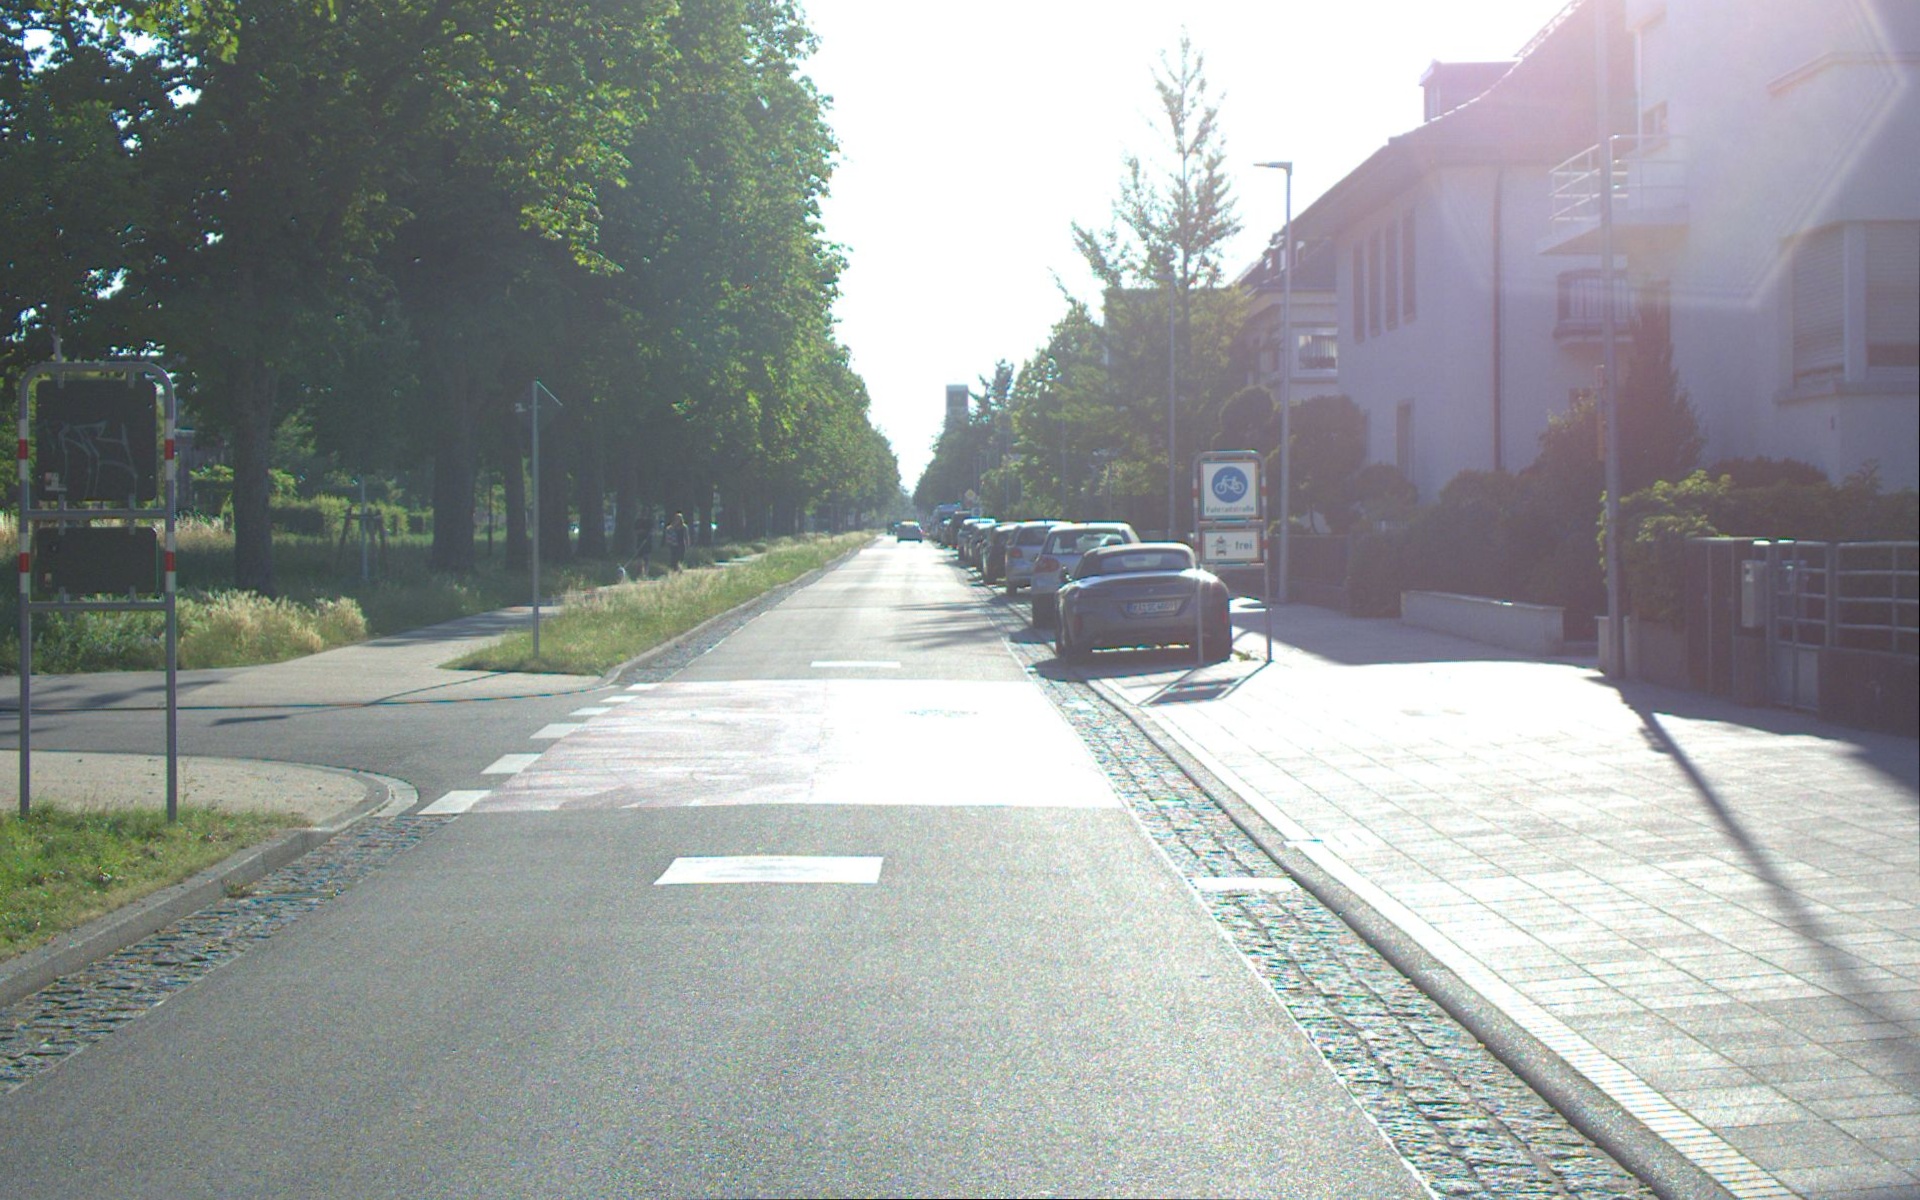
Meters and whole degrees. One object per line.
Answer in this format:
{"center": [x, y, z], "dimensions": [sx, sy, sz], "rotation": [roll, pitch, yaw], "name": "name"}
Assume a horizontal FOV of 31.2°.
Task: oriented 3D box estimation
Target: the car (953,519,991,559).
{"center": [0.475, -2.456, 138.424], "dimensions": [1.498, 1.561, 3.267], "rotation": [0, 1, 0], "name": "car"}

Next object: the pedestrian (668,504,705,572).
{"center": [-6.585, -1.495, 82.809], "dimensions": [0.783, 1.609, 0.952], "rotation": [0, 1, 3], "name": "pedestrian"}

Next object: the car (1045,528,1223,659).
{"center": [1.959, -0.116, 39.878], "dimensions": [1.774, 1.284, 4.273], "rotation": [-3, 2, 0], "name": "car"}

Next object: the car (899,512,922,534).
{"center": [-3.539, -5.501, 246.004], "dimensions": [1.652, 1.536, 3.267], "rotation": [1, 1, -1], "name": "car"}

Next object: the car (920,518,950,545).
{"center": [-1.452, -4.005, 201.218], "dimensions": [1.652, 1.536, 3.267], "rotation": [1, 1, 0], "name": "car"}

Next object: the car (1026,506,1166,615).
{"center": [1.980, -0.610, 51.063], "dimensions": [1.744, 1.469, 3.923], "rotation": [-3, 1, -2], "name": "car"}

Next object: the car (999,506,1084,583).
{"center": [1.665, -1.173, 71.190], "dimensions": [1.627, 1.499, 3.633], "rotation": [-2, 2, 0], "name": "car"}

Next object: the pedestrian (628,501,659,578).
{"center": [-7.570, -1.456, 82.319], "dimensions": [0.624, 1.824, 0.886], "rotation": [0, 1, 3], "name": "pedestrian"}

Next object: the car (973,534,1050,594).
{"center": [1.284, -0.932, 87.624], "dimensions": [1.736, 1.444, 4.197], "rotation": [-2, 1, -2], "name": "car"}
